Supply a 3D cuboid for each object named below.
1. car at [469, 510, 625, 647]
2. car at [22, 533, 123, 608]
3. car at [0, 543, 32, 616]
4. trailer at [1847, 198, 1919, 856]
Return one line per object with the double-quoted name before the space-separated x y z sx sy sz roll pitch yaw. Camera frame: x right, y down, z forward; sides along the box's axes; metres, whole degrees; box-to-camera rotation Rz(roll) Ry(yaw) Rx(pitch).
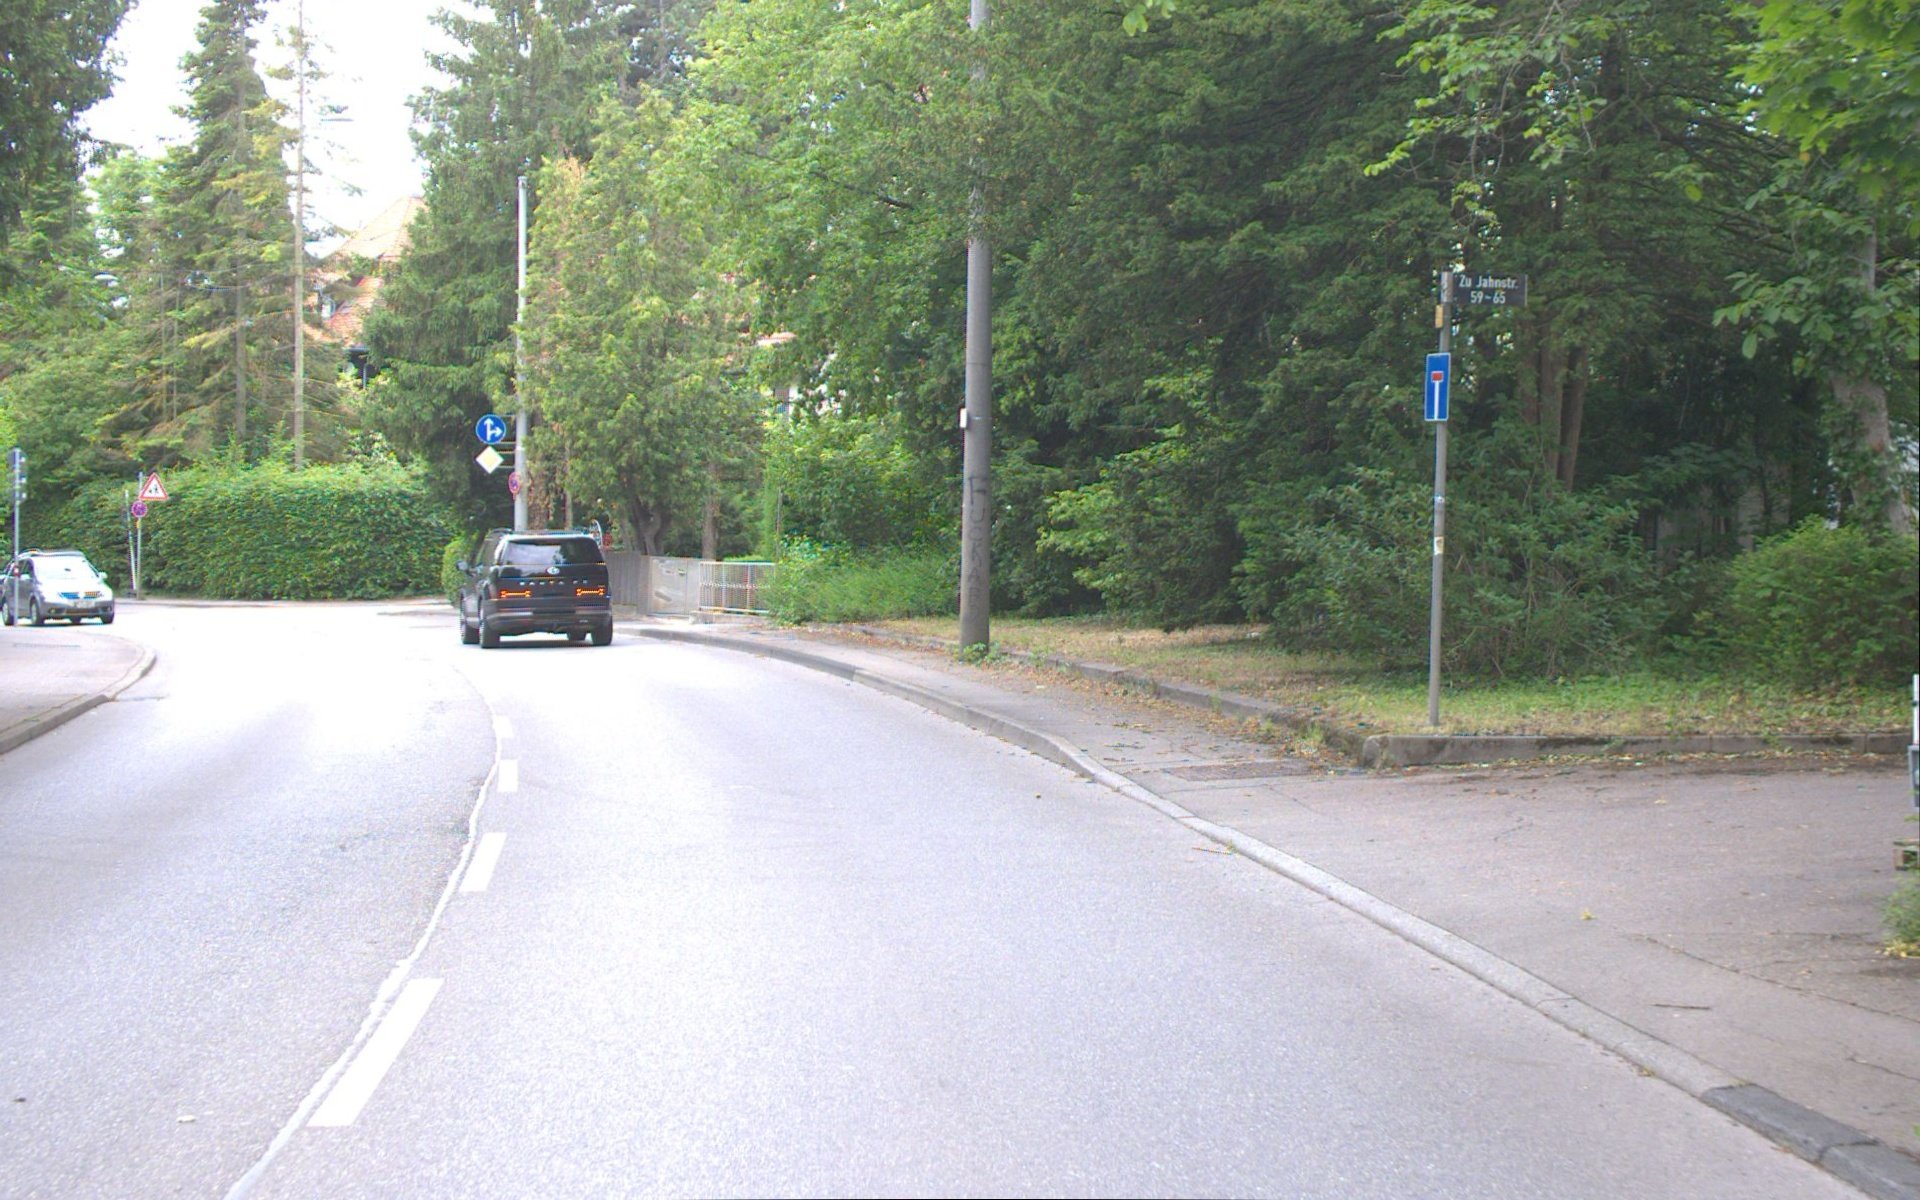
"car" -6.093 -0.358 51.107 1.993 1.875 4.001 1 2 -3
"car" -19.893 -0.688 76.977 1.993 1.612 4.001 0 1 -17
"car" -20.679 -0.422 72.299 1.902 1.449 3.798 -3 2 -19
"trailer" 5.757 -0.322 15.308 3.115 2.889 1.593 0 1 -7
